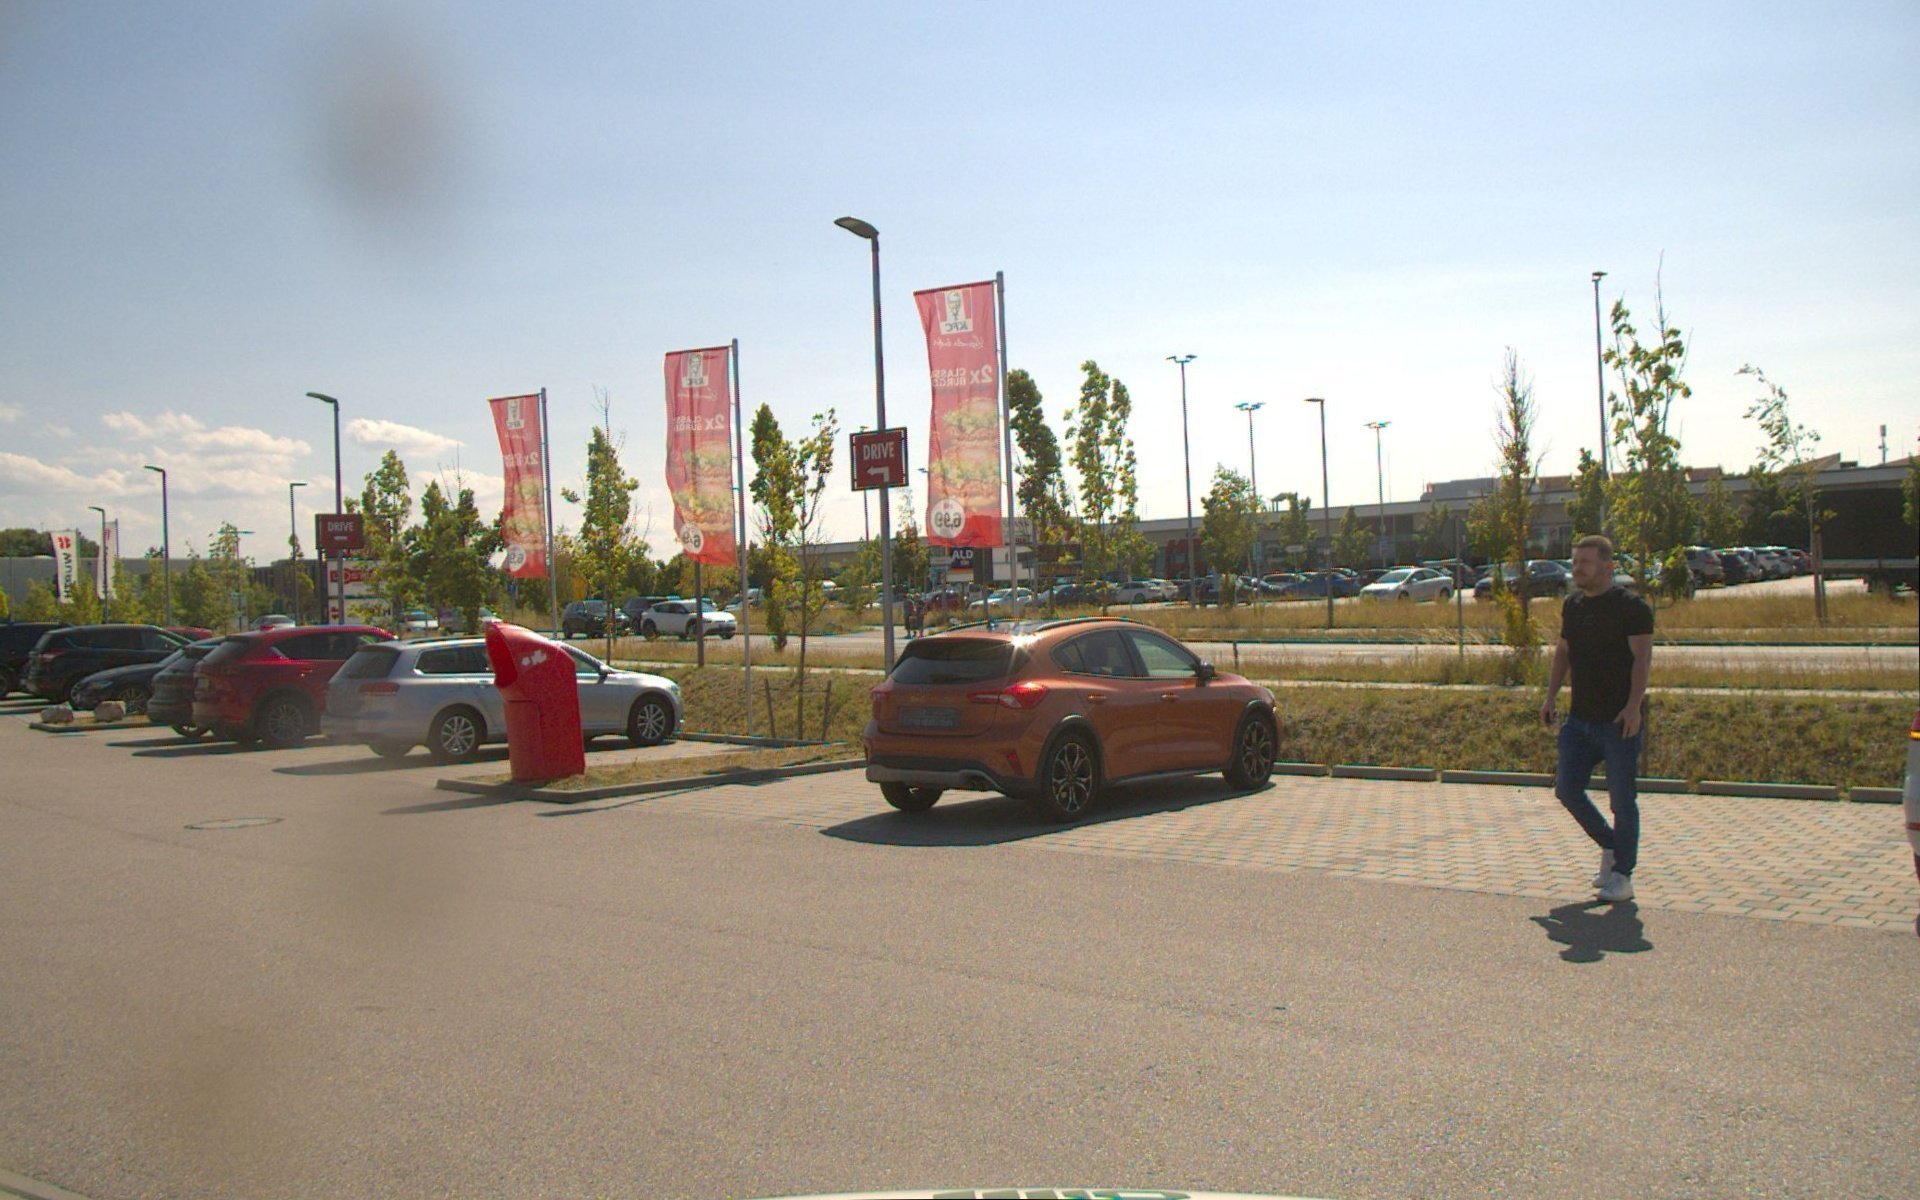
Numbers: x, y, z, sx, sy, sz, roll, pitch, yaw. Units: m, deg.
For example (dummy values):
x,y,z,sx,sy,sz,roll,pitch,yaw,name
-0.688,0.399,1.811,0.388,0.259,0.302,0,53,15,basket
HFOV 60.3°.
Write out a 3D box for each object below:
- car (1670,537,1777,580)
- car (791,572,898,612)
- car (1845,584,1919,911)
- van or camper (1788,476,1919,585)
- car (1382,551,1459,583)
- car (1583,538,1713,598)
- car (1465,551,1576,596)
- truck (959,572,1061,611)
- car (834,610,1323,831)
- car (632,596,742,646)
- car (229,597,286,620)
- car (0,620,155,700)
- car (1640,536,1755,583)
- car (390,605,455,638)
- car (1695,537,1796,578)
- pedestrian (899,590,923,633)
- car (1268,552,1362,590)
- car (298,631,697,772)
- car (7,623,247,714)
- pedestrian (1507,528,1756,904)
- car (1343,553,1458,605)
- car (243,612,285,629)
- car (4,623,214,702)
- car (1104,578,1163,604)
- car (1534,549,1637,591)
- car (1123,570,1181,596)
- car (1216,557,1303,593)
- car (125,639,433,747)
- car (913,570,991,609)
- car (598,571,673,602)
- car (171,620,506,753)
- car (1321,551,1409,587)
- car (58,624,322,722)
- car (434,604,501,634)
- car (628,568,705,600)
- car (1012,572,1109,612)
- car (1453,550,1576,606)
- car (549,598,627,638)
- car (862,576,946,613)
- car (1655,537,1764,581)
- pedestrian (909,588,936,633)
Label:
x,y,z,sx,sy,sz,roll,pitch,yaw,name
36.110,-1.955,78.253,4.314,1.888,1.949,-1,1,35,car
-7.134,-0.497,102.818,6.260,2.276,2.773,-2,1,-43,car
6.351,0.635,8.748,1.802,1.495,4.451,-2,-1,44,car
28.992,-2.106,49.471,2.378,3.155,8.002,-2,1,-22,van or camper
29.394,-2.096,105.594,4.314,1.888,1.949,-1,1,35,car
23.328,-1.105,56.043,4.349,1.888,1.934,-2,1,-33,car
25.100,-1.192,74.135,4.314,1.888,1.949,-1,1,35,car
2.683,-0.479,87.987,5.374,1.896,1.974,-2,1,-36,truck
1.139,0.883,13.869,1.801,1.495,4.326,-2,-1,42,car
-10.899,0.850,65.856,4.327,1.878,1.989,-1,1,41,car
-53.227,0.624,125.309,1.679,1.625,3.655,-1,1,35,car
-22.215,1.444,40.099,4.544,1.791,1.869,-1,0,-39,car
32.170,-1.755,72.188,4.314,1.888,1.949,-1,1,35,car
-27.510,1.100,84.566,1.976,1.553,4.602,-2,1,-34,car
39.488,-2.123,83.146,4.314,1.888,1.949,-1,1,35,car
-1.832,0.414,61.993,0.617,1.583,0.660,-2,0,-30,pedestrian
18.816,-1.537,87.766,4.479,1.888,1.949,-1,1,35,car
-5.702,1.190,20.788,4.565,1.437,1.712,-1,0,-44,car
-17.992,1.433,35.827,4.299,1.732,1.865,-1,0,-44,car
3.442,0.580,8.550,0.970,1.841,0.726,-1,-1,4,pedestrian
17.185,-0.817,64.510,4.232,1.888,1.978,-2,1,-33,car
-76.611,2.265,182.086,1.863,1.687,3.954,-1,1,27,car
-19.724,1.397,38.422,4.043,1.637,1.868,-1,0,-40,car
11.192,-0.597,106.612,3.399,1.579,1.664,-1,1,29,car
30.391,-1.448,80.363,4.314,1.888,1.949,-1,1,35,car
12.634,-1.104,109.021,3.399,1.579,1.664,-1,1,29,car
18.363,-1.502,101.509,4.824,2.049,2.078,-1,1,31,car
-10.714,1.409,26.232,1.743,1.435,4.177,-2,0,44,car
-0.444,-0.600,94.791,4.039,2.049,1.978,-2,1,-33,car
-23.183,-0.962,118.356,1.966,2.049,5.043,-1,1,44,car
-9.039,1.190,24.246,4.198,1.666,1.919,-1,0,-44,car
23.164,-1.761,94.619,4.479,1.888,1.949,-1,1,35,car
-15.024,1.377,32.357,4.402,1.666,1.871,-1,0,-37,car
-26.368,1.004,88.520,1.978,1.530,4.597,-2,1,-36,car
-20.145,-1.128,113.703,1.966,2.049,5.043,-1,1,44,car
5.071,-0.425,83.457,4.679,1.878,1.975,-2,1,-36,car
20.271,-0.814,60.423,4.349,1.888,1.934,-2,1,-33,car
-16.849,0.812,74.743,1.857,1.693,4.547,-2,1,-35,car
-3.324,-0.357,99.199,1.966,2.049,5.145,-1,1,44,car
34.634,-1.886,76.427,4.314,1.888,1.949,-1,1,35,car
-1.392,0.396,61.170,0.683,1.627,0.749,-2,1,-30,pedestrian
